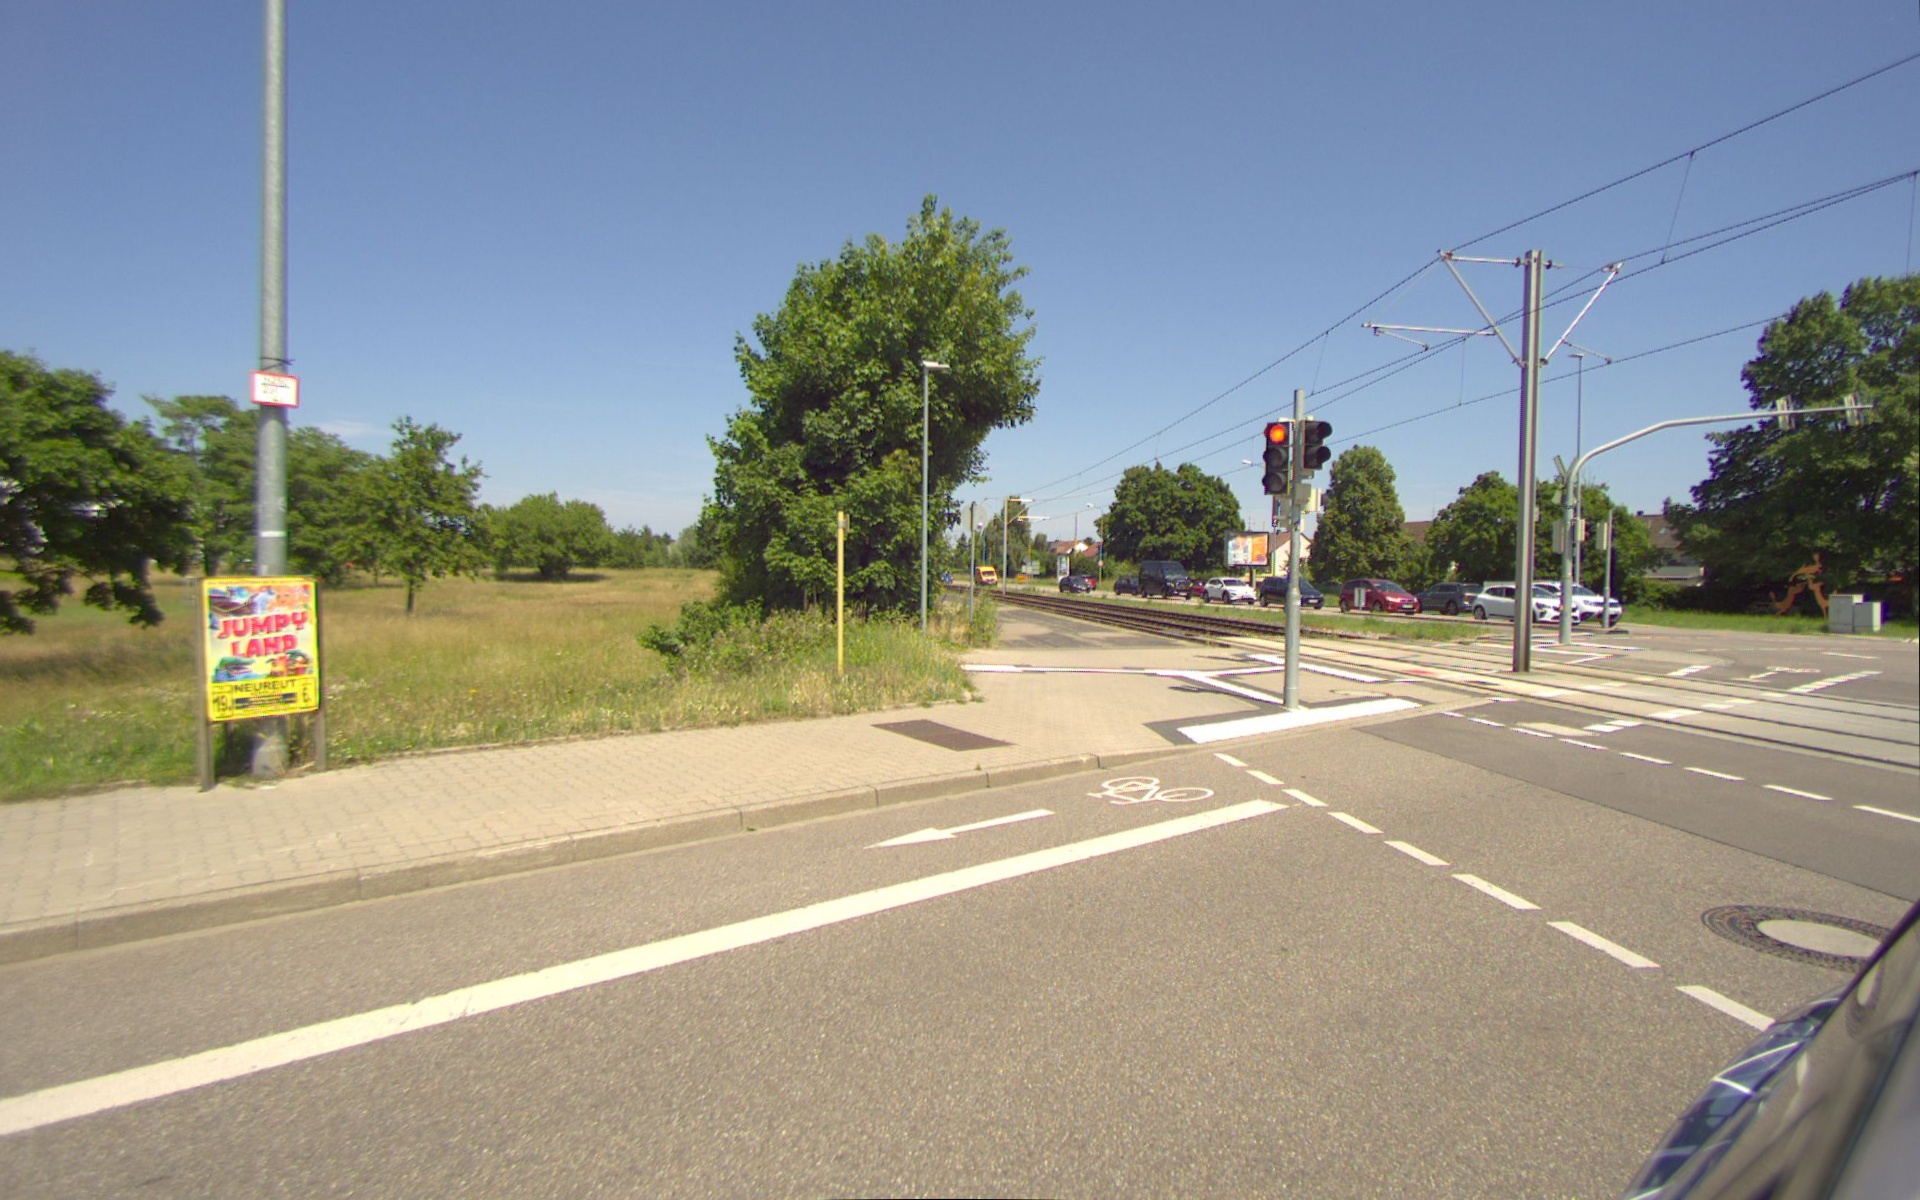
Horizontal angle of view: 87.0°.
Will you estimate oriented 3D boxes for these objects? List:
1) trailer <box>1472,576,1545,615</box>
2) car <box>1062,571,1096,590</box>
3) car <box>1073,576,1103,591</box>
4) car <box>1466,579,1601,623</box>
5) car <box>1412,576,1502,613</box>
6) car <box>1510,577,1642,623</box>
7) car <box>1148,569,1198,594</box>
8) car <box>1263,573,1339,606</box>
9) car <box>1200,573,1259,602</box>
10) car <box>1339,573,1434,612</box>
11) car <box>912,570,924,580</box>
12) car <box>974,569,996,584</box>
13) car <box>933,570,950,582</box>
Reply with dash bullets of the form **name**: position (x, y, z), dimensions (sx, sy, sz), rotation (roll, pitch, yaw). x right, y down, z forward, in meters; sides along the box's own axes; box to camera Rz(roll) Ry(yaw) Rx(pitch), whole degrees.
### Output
- **trailer**: position (25.246, -0.221, 46.678), dimensions (1.379, 1.675, 2.943), rotation (2, 1, -10)
- **car**: position (10.392, -1.715, 88.676), dimensions (1.836, 1.595, 4.420), rotation (2, 1, -9)
- **car**: position (12.873, -1.688, 102.115), dimensions (1.811, 1.477, 4.420), rotation (1, 1, -9)
- **car**: position (20.655, 0.007, 36.703), dimensions (1.836, 1.406, 4.420), rotation (2, 1, -9)
- **car**: position (24.624, -0.305, 50.313), dimensions (1.696, 1.679, 4.417), rotation (2, 1, -10)
- **car**: position (23.514, -0.050, 38.862), dimensions (1.836, 1.595, 4.420), rotation (2, 1, -9)
- **car**: position (14.578, -1.273, 69.358), dimensions (1.836, 1.595, 4.420), rotation (2, 1, -9)
- **car**: position (17.720, -0.573, 52.841), dimensions (1.836, 1.595, 4.420), rotation (2, 1, -9)
- **car**: position (15.916, -0.792, 59.976), dimensions (1.695, 1.595, 4.420), rotation (2, 1, -9)
- **car**: position (19.114, -0.391, 45.556), dimensions (1.836, 1.595, 4.420), rotation (2, 1, -9)
- **car**: position (-8.623, -5.129, 208.098), dimensions (1.736, 1.777, 4.008), rotation (3, 1, -11)
- **car**: position (3.037, -2.890, 123.869), dimensions (1.836, 1.706, 4.420), rotation (2, 1, -9)
- **car**: position (-2.873, -3.693, 156.859), dimensions (1.958, 1.812, 4.008), rotation (-1, 1, -11)
